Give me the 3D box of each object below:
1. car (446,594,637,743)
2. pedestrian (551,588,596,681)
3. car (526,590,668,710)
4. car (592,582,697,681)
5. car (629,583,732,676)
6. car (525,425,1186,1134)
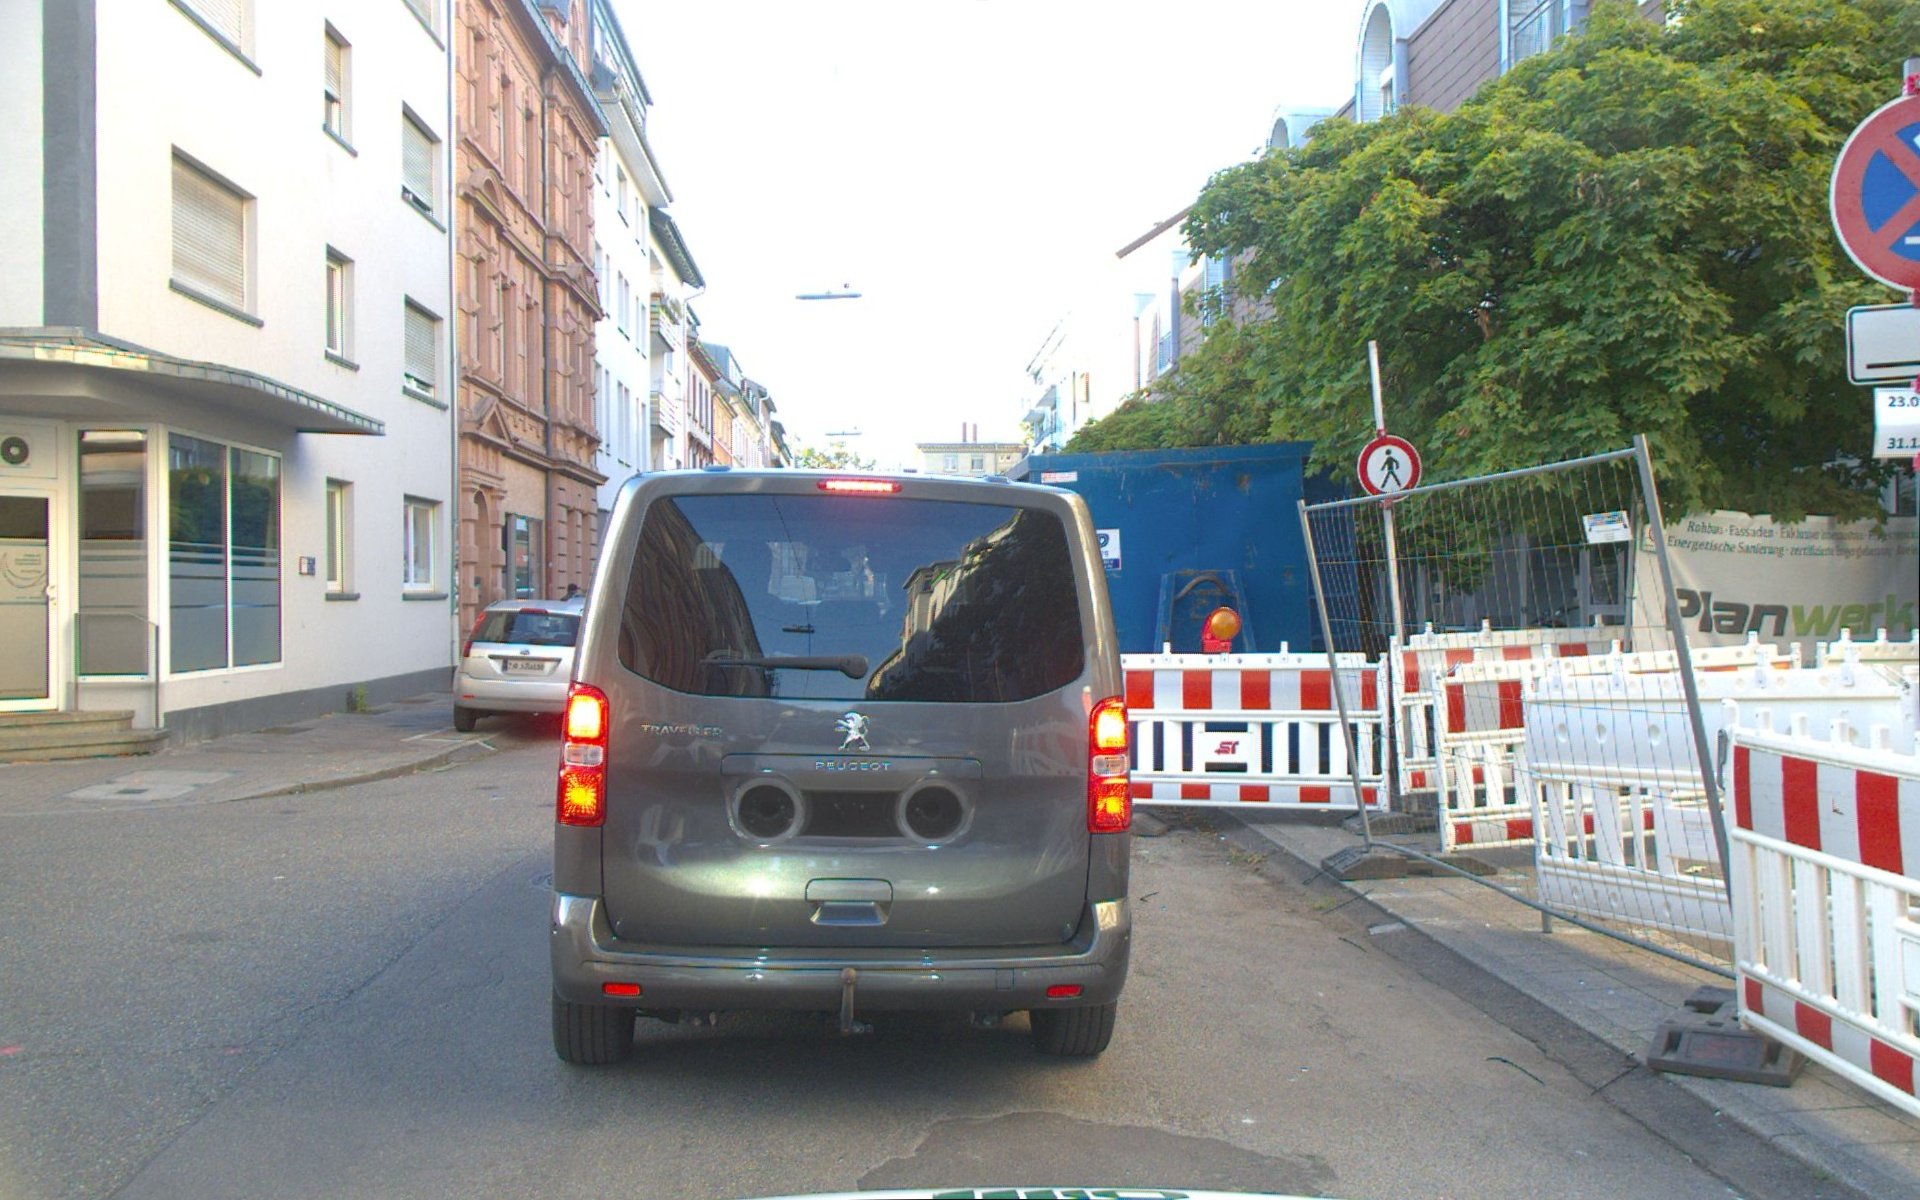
[{"bbox_3d":[-4.801,0.748,19.394,1.625,1.485,3.413,4,-1,-7],"label":"car"},{"bbox_3d":[-7.182,0.625,30.731,0.726,1.693,0.702,-1,0,-8],"label":"pedestrian"},{"bbox_3d":[-5.341,0.709,24.695,1.625,1.552,3.413,4,-1,-7],"label":"car"},{"bbox_3d":[-6.008,0.592,31.769,1.635,1.695,3.087,4,-1,-7],"label":"car"},{"bbox_3d":[-5.921,0.617,35.414,1.856,1.749,3.748,4,-1,-7],"label":"car"},{"bbox_3d":[-0.507,0.505,6.700,1.829,1.919,4.229,0,-1,-7],"label":"car"}]
